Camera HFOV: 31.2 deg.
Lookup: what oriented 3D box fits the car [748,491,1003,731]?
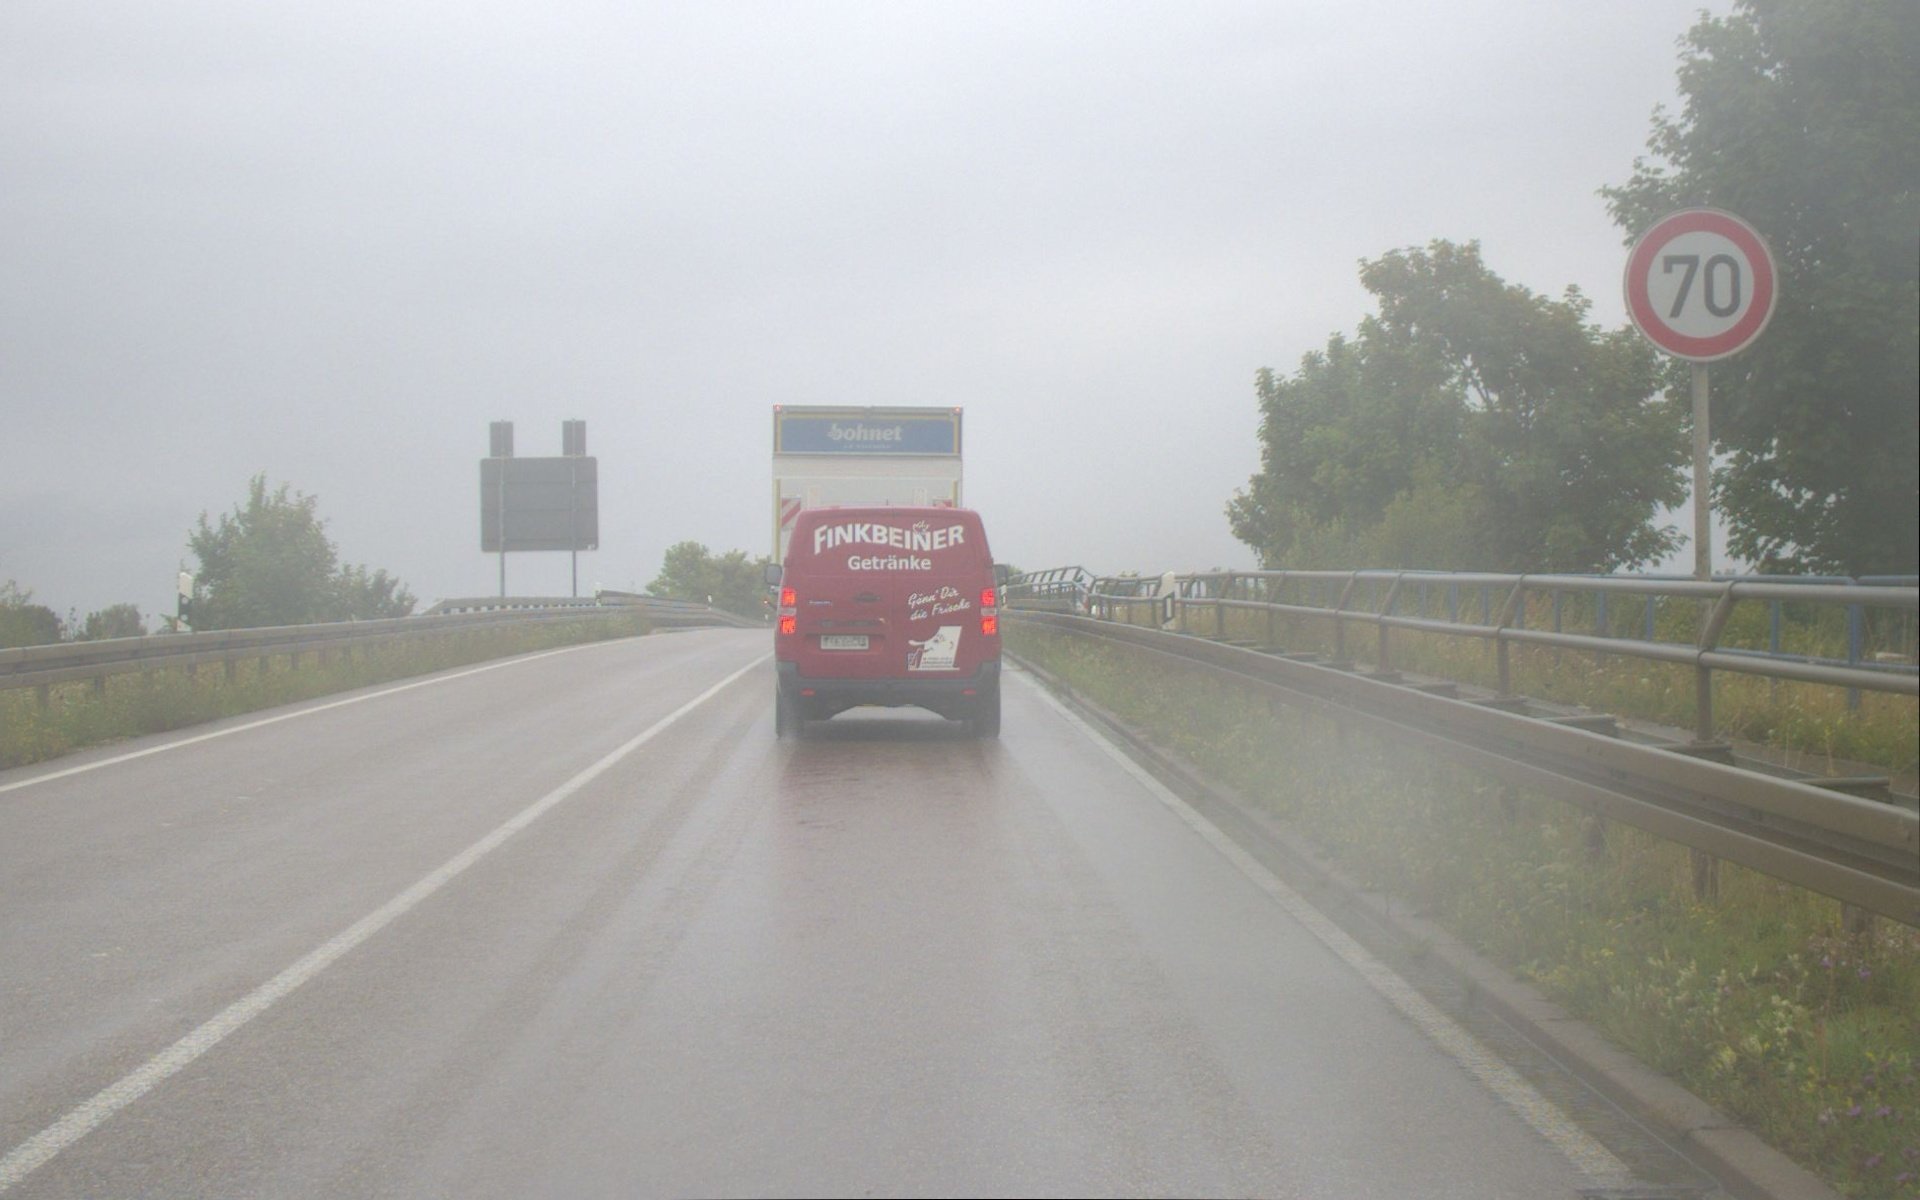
[{"bbox_3d":[-0.653,0.071,29.847,1.993,1.864,4.979,-1,0,0],"label":"car"}]

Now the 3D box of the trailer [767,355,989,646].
[{"bbox_3d":[-1.050,-1.311,50.380,2.832,3.806,9.714,-1,0,1],"label":"trailer"}]
